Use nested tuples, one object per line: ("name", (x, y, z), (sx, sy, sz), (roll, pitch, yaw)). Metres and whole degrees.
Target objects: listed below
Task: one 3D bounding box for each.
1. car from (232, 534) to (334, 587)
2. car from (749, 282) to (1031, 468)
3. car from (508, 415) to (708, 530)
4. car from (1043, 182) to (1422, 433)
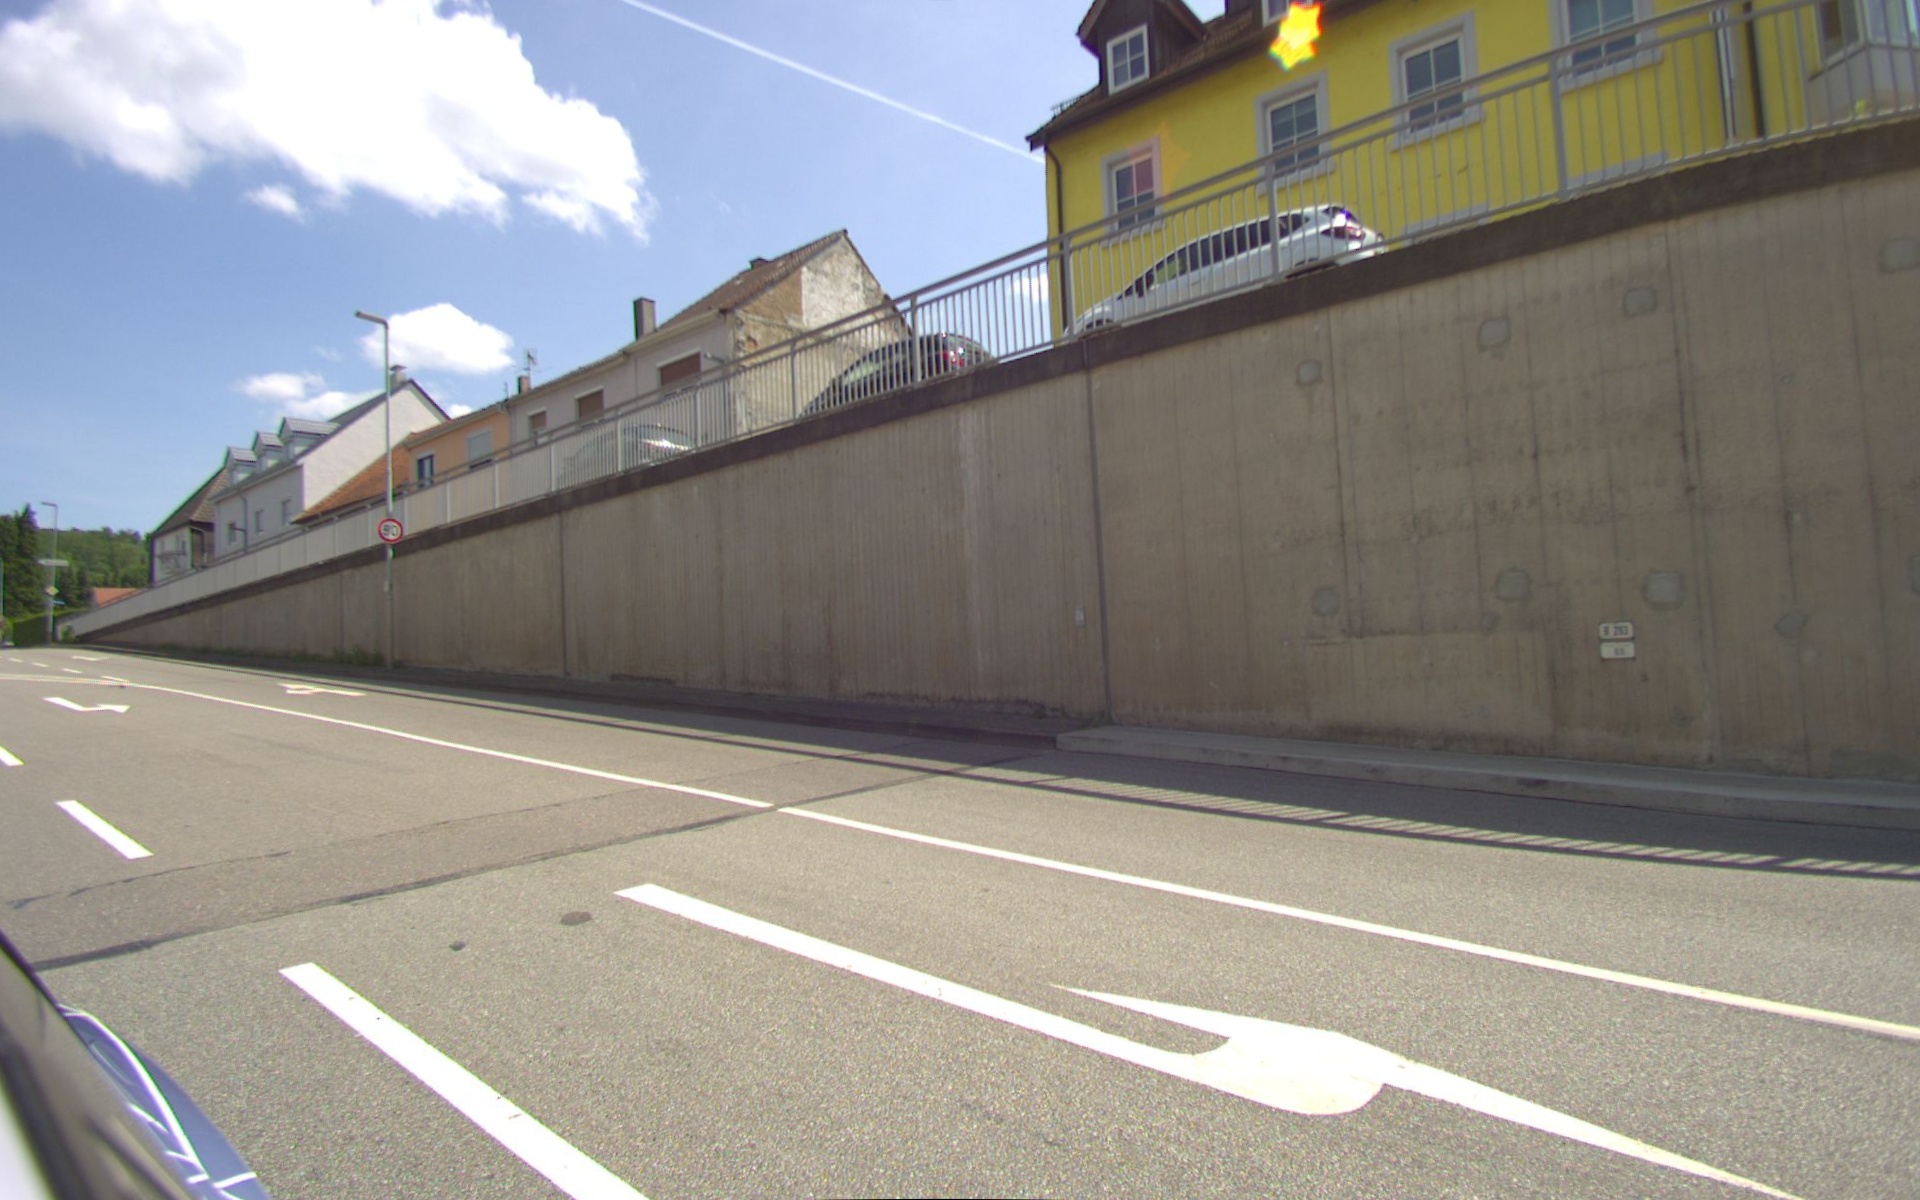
("car", (-23.692, -1.322, 35.353), (4.388, 1.416, 1.768), (-4, -3, 39))
("car", (-1.172, -3.295, 15.641), (4.218, 1.718, 1.804), (-4, -3, 39))
("car", (-7.173, -2.453, 20.405), (4.388, 1.536, 1.781), (-4, -3, 39))
("car", (3.211, -3.321, 12.335), (3.996, 1.681, 1.883), (-4, -3, 39))
